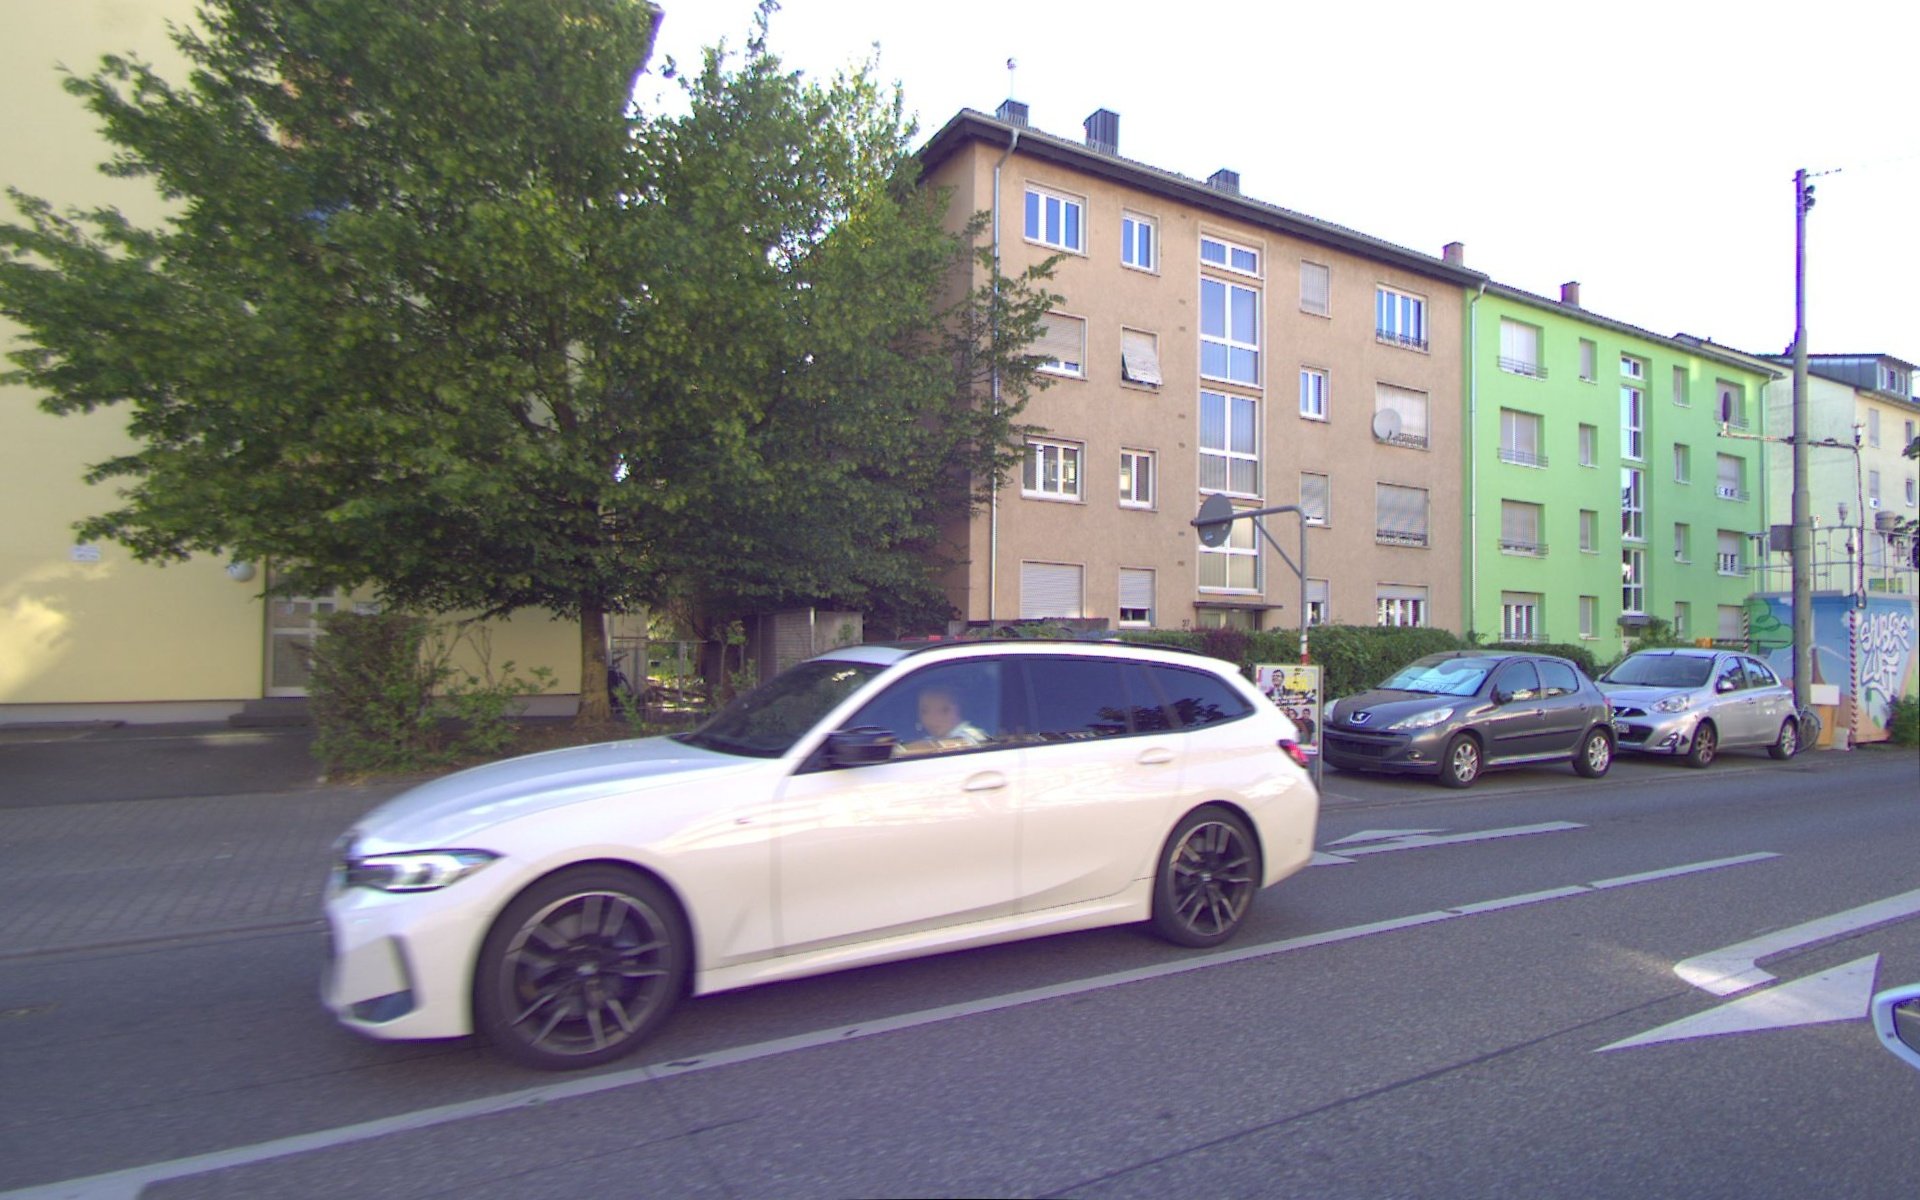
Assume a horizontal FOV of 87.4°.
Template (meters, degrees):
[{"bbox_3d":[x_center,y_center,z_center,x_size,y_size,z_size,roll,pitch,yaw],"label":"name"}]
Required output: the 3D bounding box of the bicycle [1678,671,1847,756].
[{"bbox_3d":[12.537,1.739,15.765,0.576,1.104,1.997,2,0,-28],"label":"bicycle"}]

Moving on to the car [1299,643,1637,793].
[{"bbox_3d":[5.990,1.278,11.781,3.894,1.498,1.647,2,-2,-29],"label":"car"}]

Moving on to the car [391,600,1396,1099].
[{"bbox_3d":[-0.139,0.870,4.989,4.616,1.492,1.829,2,-4,-30],"label":"car"}]

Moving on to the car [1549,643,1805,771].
[{"bbox_3d":[10.157,1.426,14.189,3.743,1.572,1.629,2,-2,-32],"label":"car"}]
